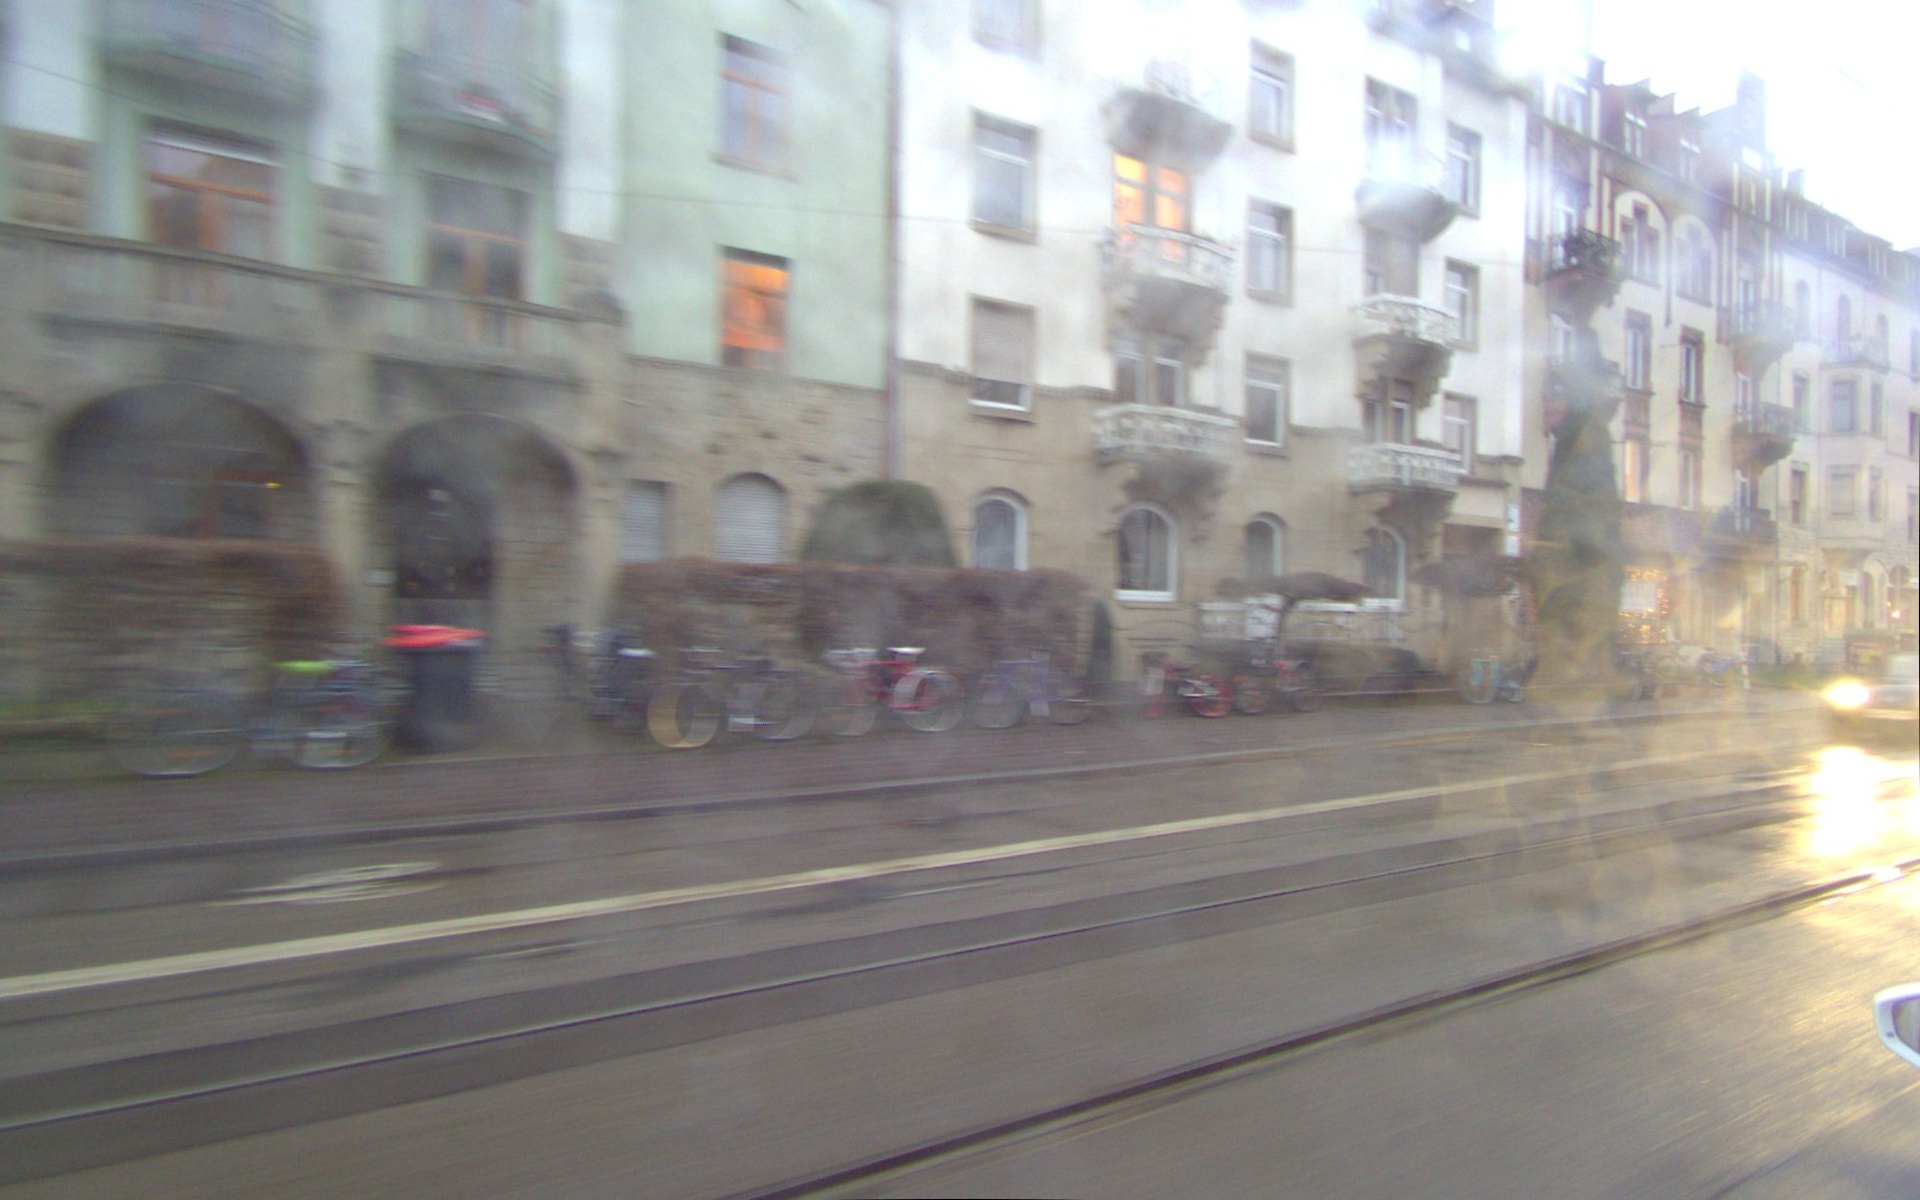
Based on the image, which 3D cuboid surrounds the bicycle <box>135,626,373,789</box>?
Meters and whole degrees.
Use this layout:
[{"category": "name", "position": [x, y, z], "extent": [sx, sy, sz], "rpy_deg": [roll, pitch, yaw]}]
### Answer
[{"category": "bicycle", "position": [-5.876, 0.835, 8.411], "extent": [1.583, 1.228, 0.686], "rpy_deg": [1, -1, -40]}]

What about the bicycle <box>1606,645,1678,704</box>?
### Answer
[{"category": "bicycle", "position": [13.789, 1.478, 20.296], "extent": [1.792, 1.095, 0.610], "rpy_deg": [1, -1, -35]}]

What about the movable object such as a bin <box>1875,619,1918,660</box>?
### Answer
[{"category": "movable object such as a bin", "position": [38.385, 1.612, 41.172], "extent": [1.067, 1.622, 1.010], "rpy_deg": [0, -1, -28]}]

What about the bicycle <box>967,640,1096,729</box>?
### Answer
[{"category": "bicycle", "position": [0.922, 1.050, 12.742], "extent": [1.583, 1.044, 0.686], "rpy_deg": [3, -3, -40]}]

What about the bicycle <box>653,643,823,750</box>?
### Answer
[{"category": "bicycle", "position": [-2.343, 1.027, 10.640], "extent": [1.576, 1.044, 0.689], "rpy_deg": [5, -4, -29]}]

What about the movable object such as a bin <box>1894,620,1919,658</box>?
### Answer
[{"category": "movable object such as a bin", "position": [40.485, 1.639, 42.556], "extent": [1.067, 1.622, 1.010], "rpy_deg": [0, -1, -28]}]

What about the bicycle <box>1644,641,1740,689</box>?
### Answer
[{"category": "bicycle", "position": [17.777, 1.555, 24.421], "extent": [0.610, 1.095, 1.792], "rpy_deg": [0, -1, -36]}]

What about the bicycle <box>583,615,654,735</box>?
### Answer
[{"category": "bicycle", "position": [-3.999, 0.853, 11.701], "extent": [0.483, 1.279, 1.585], "rpy_deg": [6, -4, -25]}]

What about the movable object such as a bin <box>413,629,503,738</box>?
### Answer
[{"category": "movable object such as a bin", "position": [-5.623, 0.910, 11.252], "extent": [0.738, 1.152, 0.687], "rpy_deg": [1, -1, -44]}]

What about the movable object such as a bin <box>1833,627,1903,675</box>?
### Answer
[{"category": "movable object such as a bin", "position": [30.286, 1.668, 33.516], "extent": [1.348, 1.551, 1.402], "rpy_deg": [0, -1, -30]}]

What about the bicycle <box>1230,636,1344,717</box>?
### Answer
[{"category": "bicycle", "position": [4.800, 1.087, 14.693], "extent": [1.909, 1.114, 0.484], "rpy_deg": [1, -2, -32]}]

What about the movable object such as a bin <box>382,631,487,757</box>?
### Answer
[{"category": "movable object such as a bin", "position": [-5.107, 0.880, 9.760], "extent": [0.738, 1.152, 0.687], "rpy_deg": [1, -1, -44]}]

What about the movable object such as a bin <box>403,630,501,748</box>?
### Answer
[{"category": "movable object such as a bin", "position": [-5.264, 0.893, 10.402], "extent": [0.738, 1.152, 0.687], "rpy_deg": [1, -1, -44]}]

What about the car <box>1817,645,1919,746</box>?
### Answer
[{"category": "car", "position": [13.885, 1.297, 14.184], "extent": [3.831, 1.214, 1.651], "rpy_deg": [1, -1, -32]}]

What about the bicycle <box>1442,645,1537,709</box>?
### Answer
[{"category": "bicycle", "position": [9.096, 1.298, 17.235], "extent": [1.785, 1.031, 0.622], "rpy_deg": [1, -2, -32]}]

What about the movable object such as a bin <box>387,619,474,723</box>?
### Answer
[{"category": "movable object such as a bin", "position": [-6.192, 0.805, 11.757], "extent": [0.738, 1.152, 0.687], "rpy_deg": [1, -1, -44]}]

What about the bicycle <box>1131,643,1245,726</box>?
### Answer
[{"category": "bicycle", "position": [3.117, 1.122, 13.667], "extent": [1.583, 1.044, 0.686], "rpy_deg": [2, -2, -40]}]

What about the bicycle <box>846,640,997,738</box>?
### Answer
[{"category": "bicycle", "position": [-0.432, 1.040, 11.630], "extent": [1.581, 1.044, 0.687], "rpy_deg": [6, -4, -35]}]

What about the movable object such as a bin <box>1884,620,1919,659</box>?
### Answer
[{"category": "movable object such as a bin", "position": [39.422, 1.634, 41.857], "extent": [1.140, 1.622, 1.010], "rpy_deg": [0, -1, -28]}]
